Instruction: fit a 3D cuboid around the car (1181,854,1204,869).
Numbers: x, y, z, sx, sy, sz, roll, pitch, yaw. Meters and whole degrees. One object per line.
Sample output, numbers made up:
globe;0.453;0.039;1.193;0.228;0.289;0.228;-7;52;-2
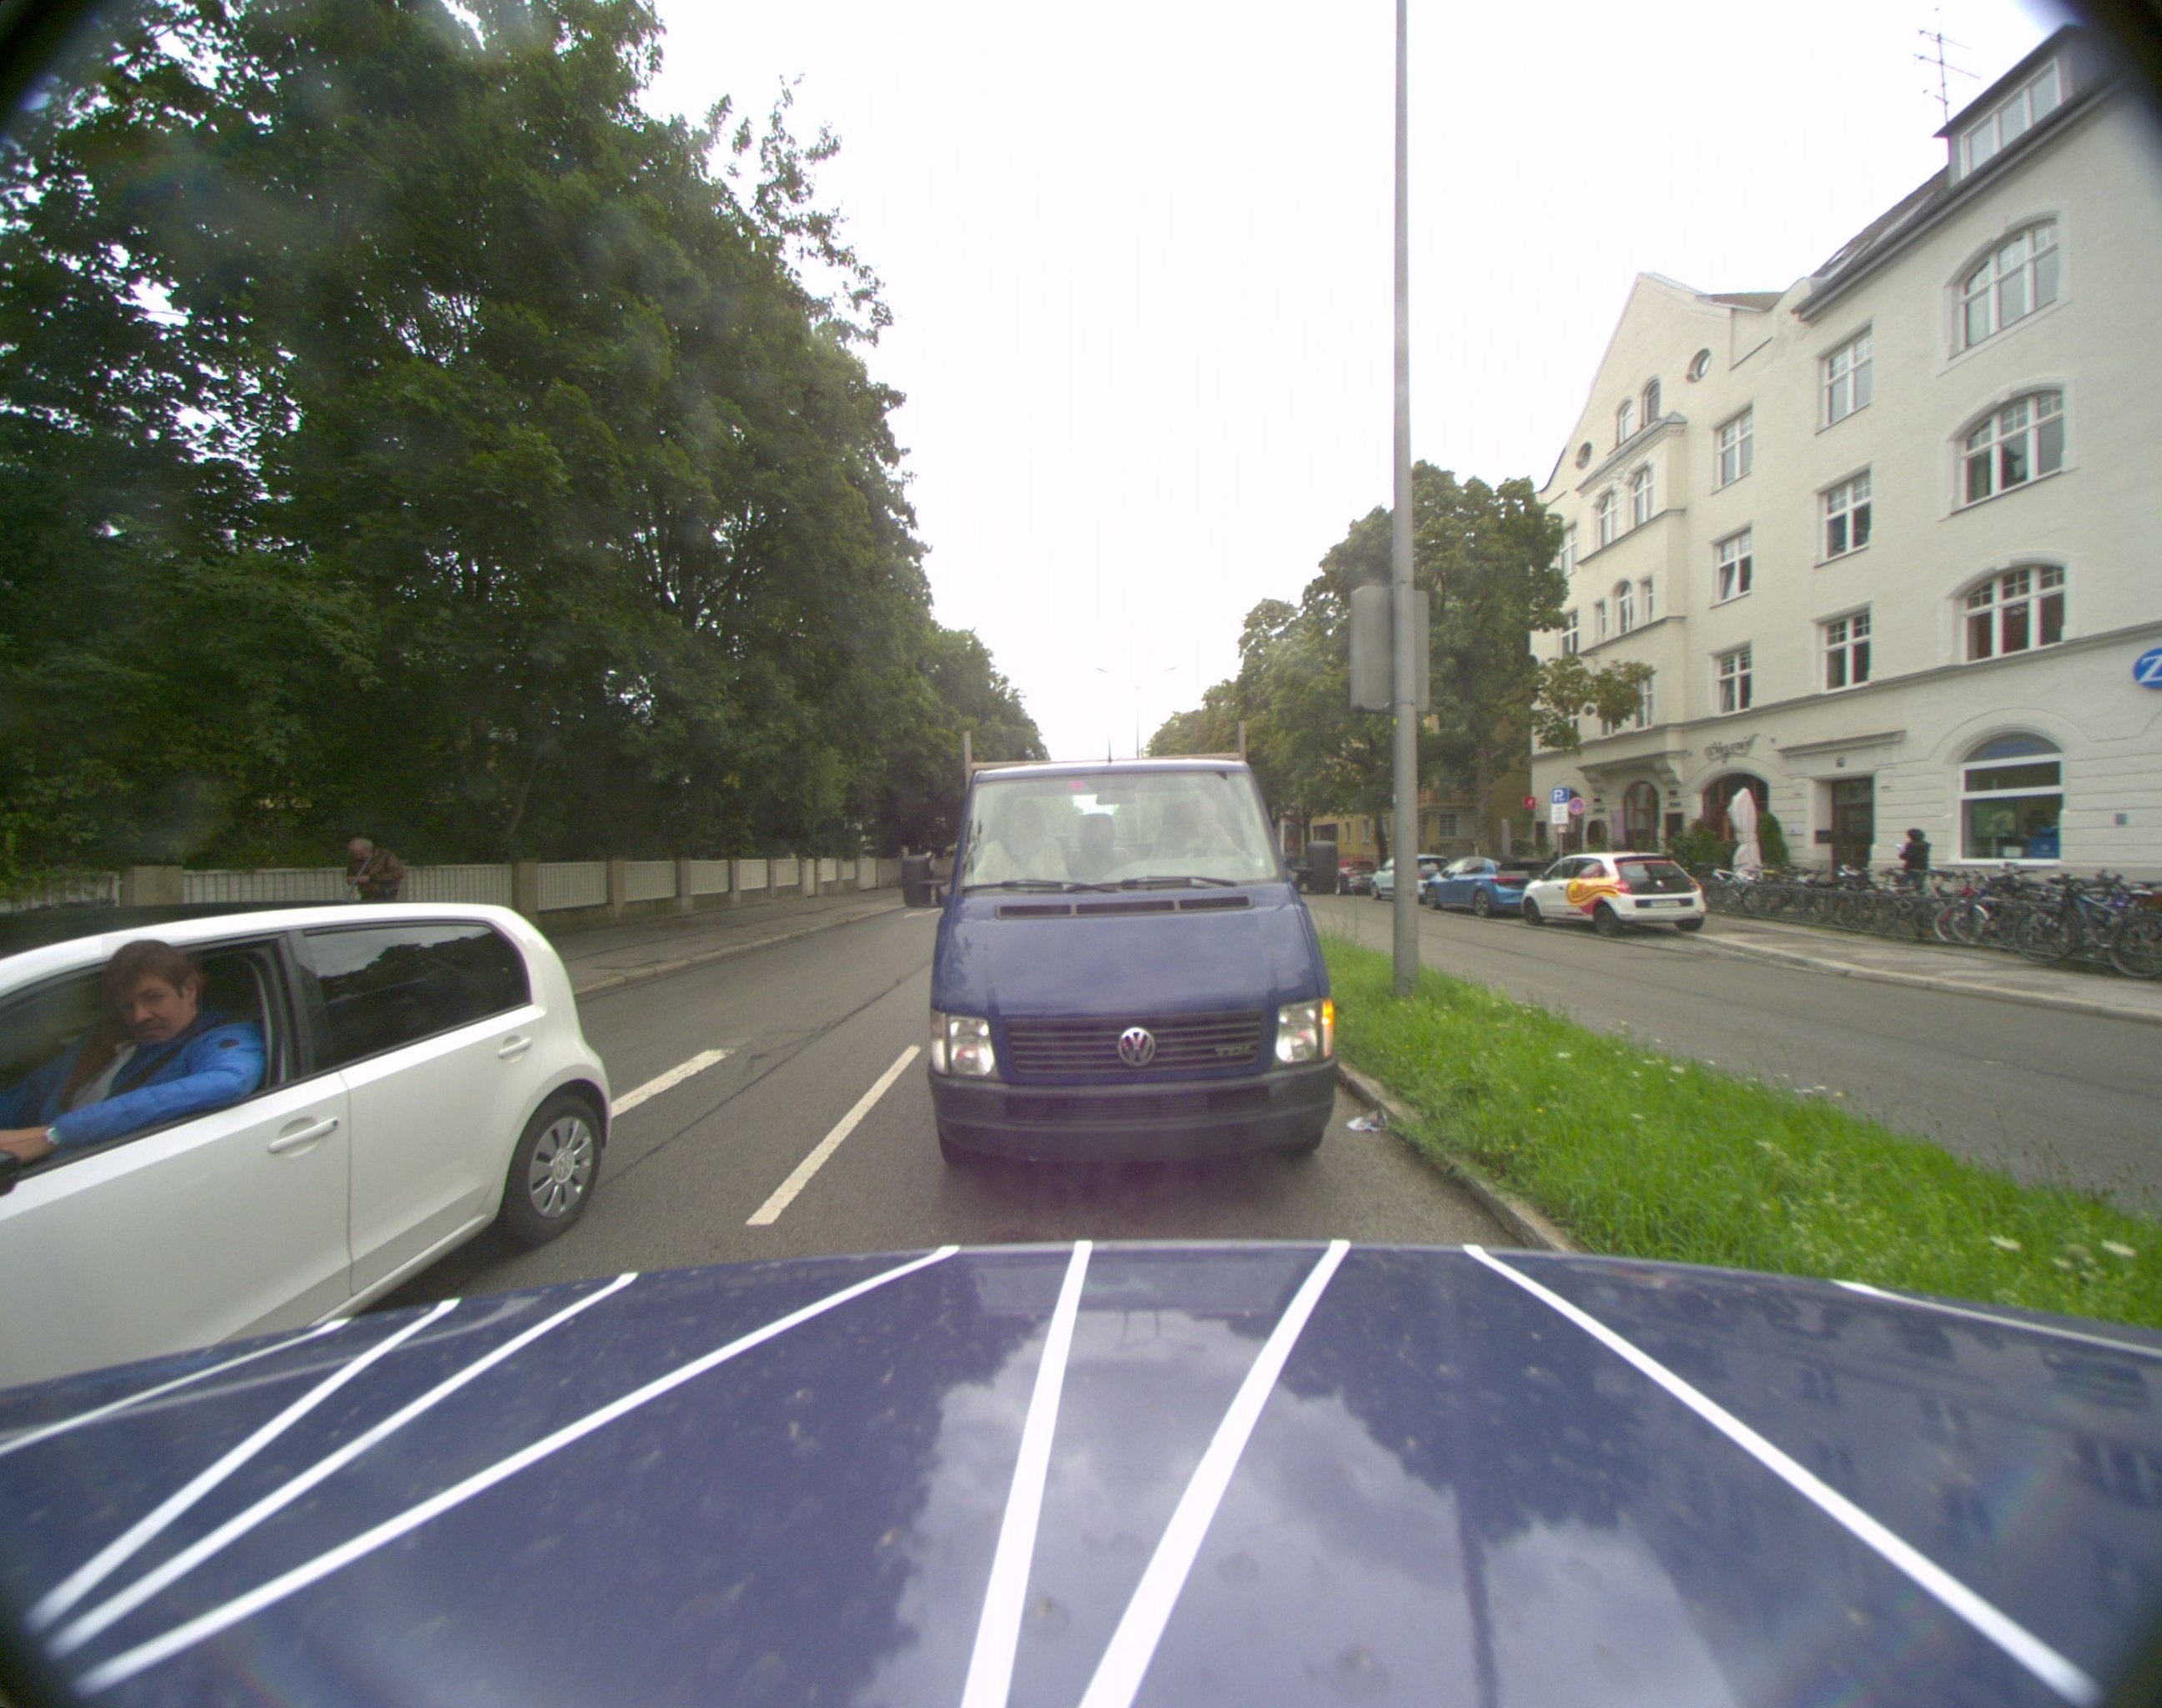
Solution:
car;11.099;0.745;75.716;1.696;1.446;4.492;-1;0;1

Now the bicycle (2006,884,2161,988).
bicycle;12.106;0.937;8.832;0.368;1.109;1.678;-1;0;-23

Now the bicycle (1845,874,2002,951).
bicycle;13.447;0.902;12.194;0.331;1.109;1.678;-1;0;-23

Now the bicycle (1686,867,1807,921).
bicycle;14.710;0.856;16.862;0.460;1.109;1.961;-1;0;-31

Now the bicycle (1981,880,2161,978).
bicycle;12.662;0.912;9.570;0.367;1.109;1.678;-1;0;-23

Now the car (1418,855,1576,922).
car;10.697;0.817;19.946;1.815;1.498;4.291;-1;0;1

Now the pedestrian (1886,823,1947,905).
pedestrian;17.037;0.205;15.512;0.422;1.622;0.783;-1;1;7

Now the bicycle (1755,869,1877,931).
bicycle;14.212;0.868;14.746;0.331;1.109;1.677;-1;0;-27

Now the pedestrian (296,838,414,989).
pedestrian;-9.616;0.758;10.096;0.779;1.931;0.802;0;1;1

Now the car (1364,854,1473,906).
car;10.870;0.781;24.767;1.815;1.498;3.960;-1;0;1

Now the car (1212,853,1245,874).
car;11.366;0.690;58.811;1.731;1.552;4.057;-1;0;1

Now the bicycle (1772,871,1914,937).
bicycle;14.008;0.886;14.044;0.331;1.109;1.871;-1;0;-23

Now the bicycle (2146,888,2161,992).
bicycle;12.098;0.933;7.584;0.331;1.109;1.678;-1;0;-23

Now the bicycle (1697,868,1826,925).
bicycle;14.475;0.877;16.234;0.505;1.109;1.984;-1;0;-31

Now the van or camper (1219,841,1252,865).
van or camper;17.149;-0.155;84.880;2.351;2.564;6.851;-1;0;1

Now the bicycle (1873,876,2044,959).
bicycle;13.220;0.917;11.520;0.331;1.109;1.678;-1;0;-23

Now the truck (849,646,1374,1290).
truck;0.159;0.444;5.522;1.998;2.475;5.151;-1;0;1

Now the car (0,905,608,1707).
car;-3.002;1.030;1.681;1.647;1.553;3.586;-1;0;0

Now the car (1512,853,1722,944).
car;10.526;0.780;15.295;1.653;1.576;3.790;-1;0;2

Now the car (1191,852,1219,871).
car;11.318;0.672;69.688;1.883;1.636;4.770;-1;0;1

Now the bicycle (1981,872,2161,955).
bicycle;14.771;0.847;11.360;0.331;1.109;1.678;-1;0;-23

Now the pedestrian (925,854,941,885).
pedestrian;-8.121;0.850;41.752;0.668;1.695;0.766;1;1;0

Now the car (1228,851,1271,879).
car;11.175;0.679;50.656;1.815;1.718;4.767;-1;0;1

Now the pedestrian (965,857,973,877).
pedestrian;-8.614;0.996;58.478;0.529;1.572;0.729;1;1;0

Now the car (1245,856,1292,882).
car;11.000;0.838;44.956;1.731;1.394;4.404;-1;0;1

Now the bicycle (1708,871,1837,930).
bicycle;14.137;0.914;15.603;0.550;1.109;1.877;-1;0;-31

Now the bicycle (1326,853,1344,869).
bicycle;19.328;0.523;57.883;0.771;1.215;1.930;-1;0;0

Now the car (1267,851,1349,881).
car;12.297;0.650;41.332;3.899;1.455;1.732;-2;0;-1

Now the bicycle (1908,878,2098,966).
bicycle;13.023;0.916;10.800;0.383;1.109;1.678;-1;0;-23

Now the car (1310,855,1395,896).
car;10.794;0.804;30.554;1.815;1.498;4.645;-1;0;1

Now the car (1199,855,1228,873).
car;11.113;0.785;63.930;1.731;1.398;4.363;-1;0;1

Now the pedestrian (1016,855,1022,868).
pedestrian;-7.113;0.868;87.378;0.529;1.572;0.729;1;1;0

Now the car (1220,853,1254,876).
car;11.242;0.732;54.956;1.731;1.549;3.009;-1;0;-1

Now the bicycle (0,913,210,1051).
bicycle;-9.846;1.198;7.290;0.624;1.084;2.026;-1;0;0

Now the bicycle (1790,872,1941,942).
bicycle;13.822;0.902;13.465;0.331;1.109;1.871;-1;0;-23

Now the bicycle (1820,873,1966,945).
bicycle;13.637;0.887;12.823;0.331;1.109;1.678;-1;0;-23

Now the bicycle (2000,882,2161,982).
bicycle;12.402;0.919;9.147;0.331;1.109;1.678;-1;0;-23

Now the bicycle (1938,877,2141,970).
bicycle;12.842;0.891;10.257;0.331;1.109;1.678;-1;0;-23
